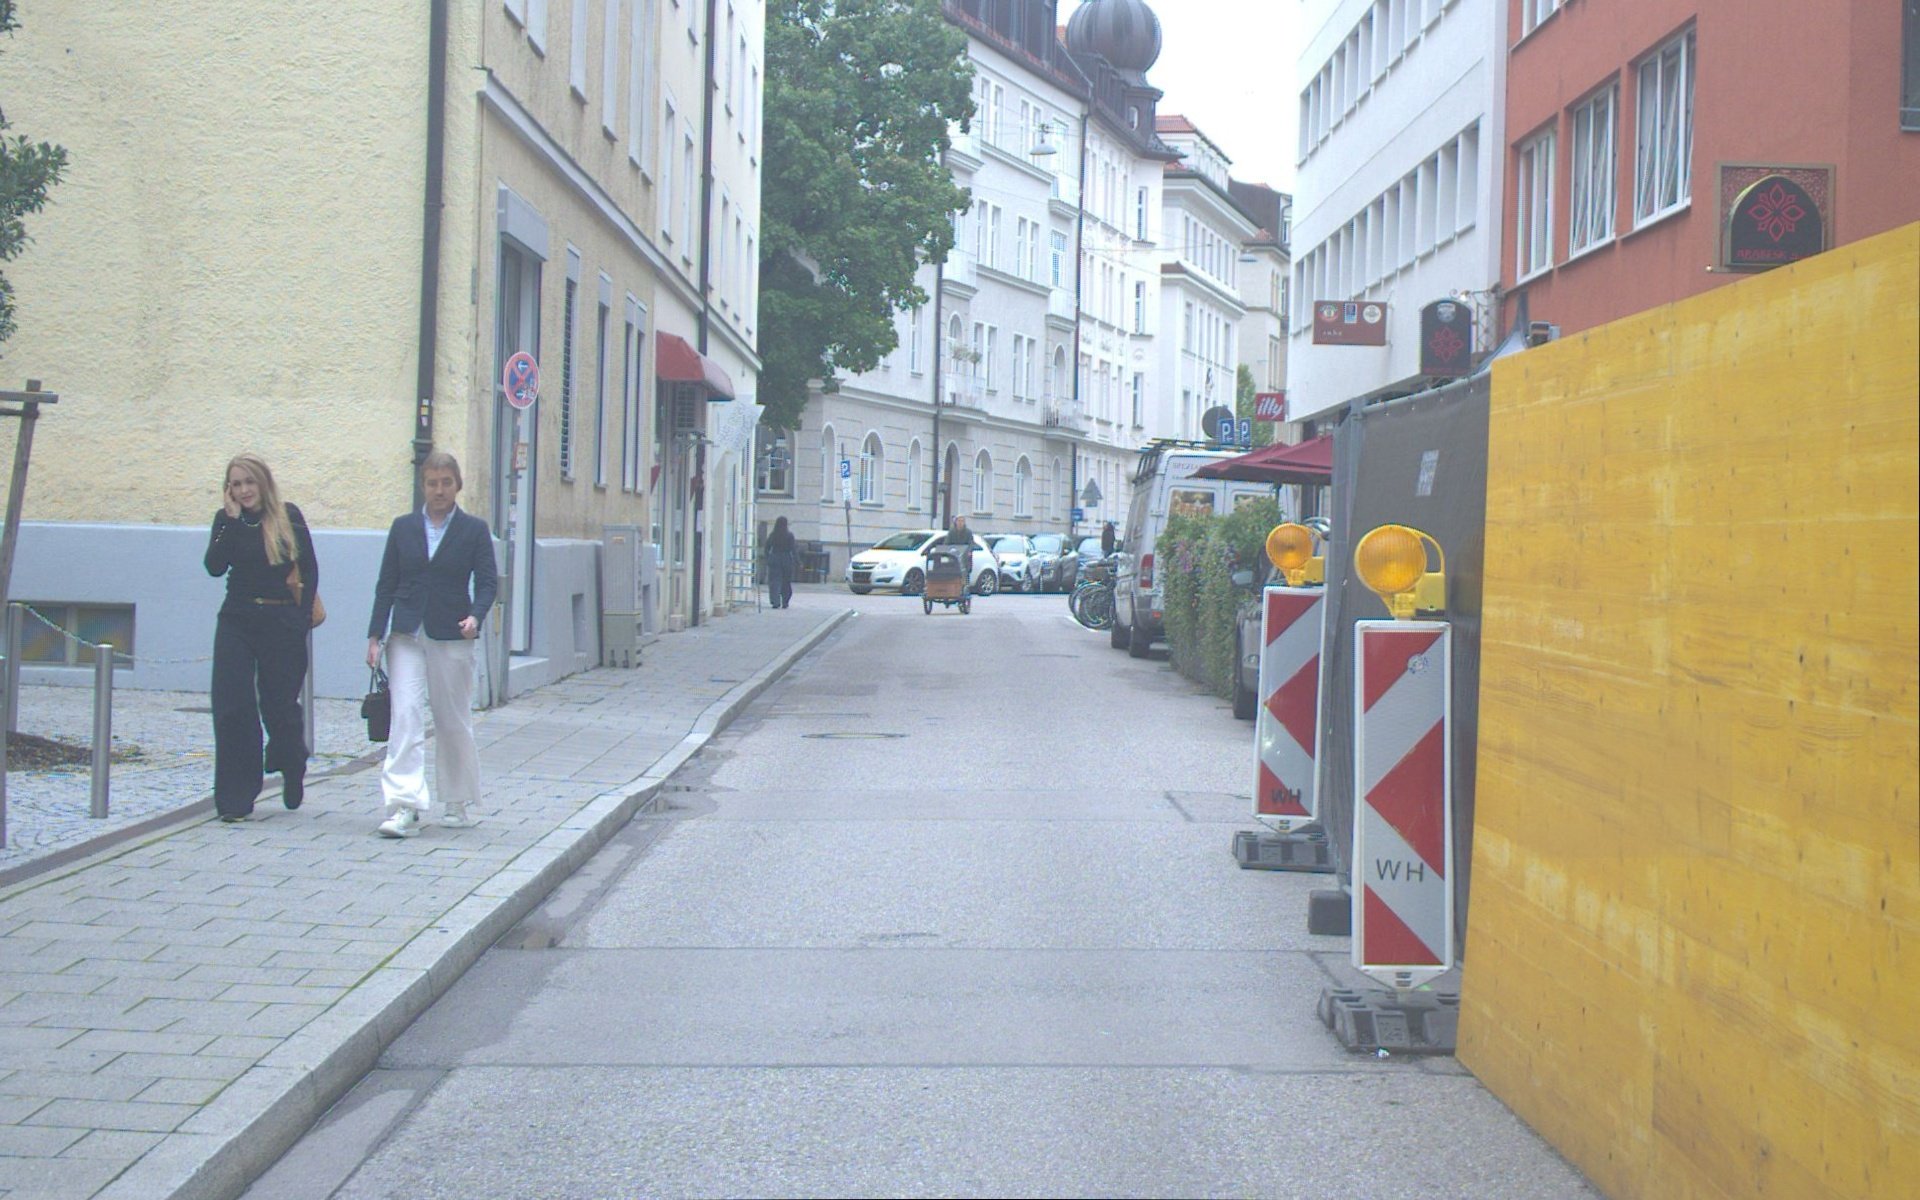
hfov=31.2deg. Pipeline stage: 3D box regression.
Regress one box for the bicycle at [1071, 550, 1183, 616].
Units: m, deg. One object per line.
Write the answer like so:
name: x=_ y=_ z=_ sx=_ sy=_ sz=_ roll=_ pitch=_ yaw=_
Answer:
bicycle: x=2.890 y=-0.301 z=59.650 sx=1.873 sy=1.076 sz=0.402 roll=2 pitch=2 yaw=-3

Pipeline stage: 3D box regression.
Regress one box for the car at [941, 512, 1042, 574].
car: x=0.840 y=-1.462 z=88.480 sx=1.994 sy=1.468 sz=4.217 roll=2 pitch=1 yaw=8

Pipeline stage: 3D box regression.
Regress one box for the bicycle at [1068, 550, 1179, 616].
bicycle: x=2.852 y=-0.301 z=60.089 sx=1.873 sy=1.076 sz=0.408 roll=2 pitch=2 yaw=-3

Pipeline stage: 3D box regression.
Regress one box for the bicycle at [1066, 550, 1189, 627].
bicycle: x=2.689 y=-0.185 z=55.146 sx=1.873 sy=1.104 sz=0.488 roll=3 pitch=2 yaw=-2

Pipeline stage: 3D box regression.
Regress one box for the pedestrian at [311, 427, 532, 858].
pedestrian: x=-2.376 y=0.175 z=15.278 sx=0.775 sy=1.830 sz=0.991 roll=2 pitch=1 yaw=-1

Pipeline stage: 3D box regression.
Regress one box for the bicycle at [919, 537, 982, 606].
bicycle: x=-0.167 y=-0.532 z=64.056 sx=0.932 sy=1.253 sz=2.413 roll=1 pitch=1 yaw=5

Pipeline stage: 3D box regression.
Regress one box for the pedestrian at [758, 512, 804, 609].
pedestrian: x=-3.094 y=-0.688 z=59.550 sx=0.693 sy=1.626 sz=0.663 roll=3 pitch=1 yaw=-1

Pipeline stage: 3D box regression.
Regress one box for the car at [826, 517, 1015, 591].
car: x=-0.867 y=-1.017 z=76.662 sx=3.759 sy=1.572 sz=1.999 roll=0 pitch=1 yaw=-40

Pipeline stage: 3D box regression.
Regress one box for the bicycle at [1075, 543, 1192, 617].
bicycle: x=2.870 y=-0.332 z=57.077 sx=1.873 sy=1.200 sz=0.580 roll=1 pitch=1 yaw=-2

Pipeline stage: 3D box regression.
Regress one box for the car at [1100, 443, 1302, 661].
car: x=2.989 y=-0.637 z=43.850 sx=1.920 sy=2.497 sz=5.998 roll=3 pitch=1 yaw=-1

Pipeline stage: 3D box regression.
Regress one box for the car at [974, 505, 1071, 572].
car: x=1.723 y=-1.655 z=93.359 sx=1.944 sy=1.696 sz=3.998 roll=3 pitch=1 yaw=10

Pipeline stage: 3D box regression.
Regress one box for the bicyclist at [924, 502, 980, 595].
bicyclist: x=-0.146 y=-0.963 z=64.338 sx=0.926 sy=1.715 sz=1.099 roll=1 pitch=1 yaw=5

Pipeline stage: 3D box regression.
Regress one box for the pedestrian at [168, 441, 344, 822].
pedestrian: x=-3.176 y=0.132 z=15.572 sx=0.552 sy=1.654 sz=0.997 roll=2 pitch=1 yaw=-1

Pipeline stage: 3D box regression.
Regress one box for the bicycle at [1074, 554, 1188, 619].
bicycle: x=2.930 y=-0.231 z=58.953 sx=1.873 sy=1.048 sz=0.564 roll=2 pitch=0 yaw=-3

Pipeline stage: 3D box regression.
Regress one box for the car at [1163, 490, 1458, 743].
car: x=2.608 y=0.074 z=26.502 sx=1.824 sy=1.704 sz=4.389 roll=3 pitch=1 yaw=1
